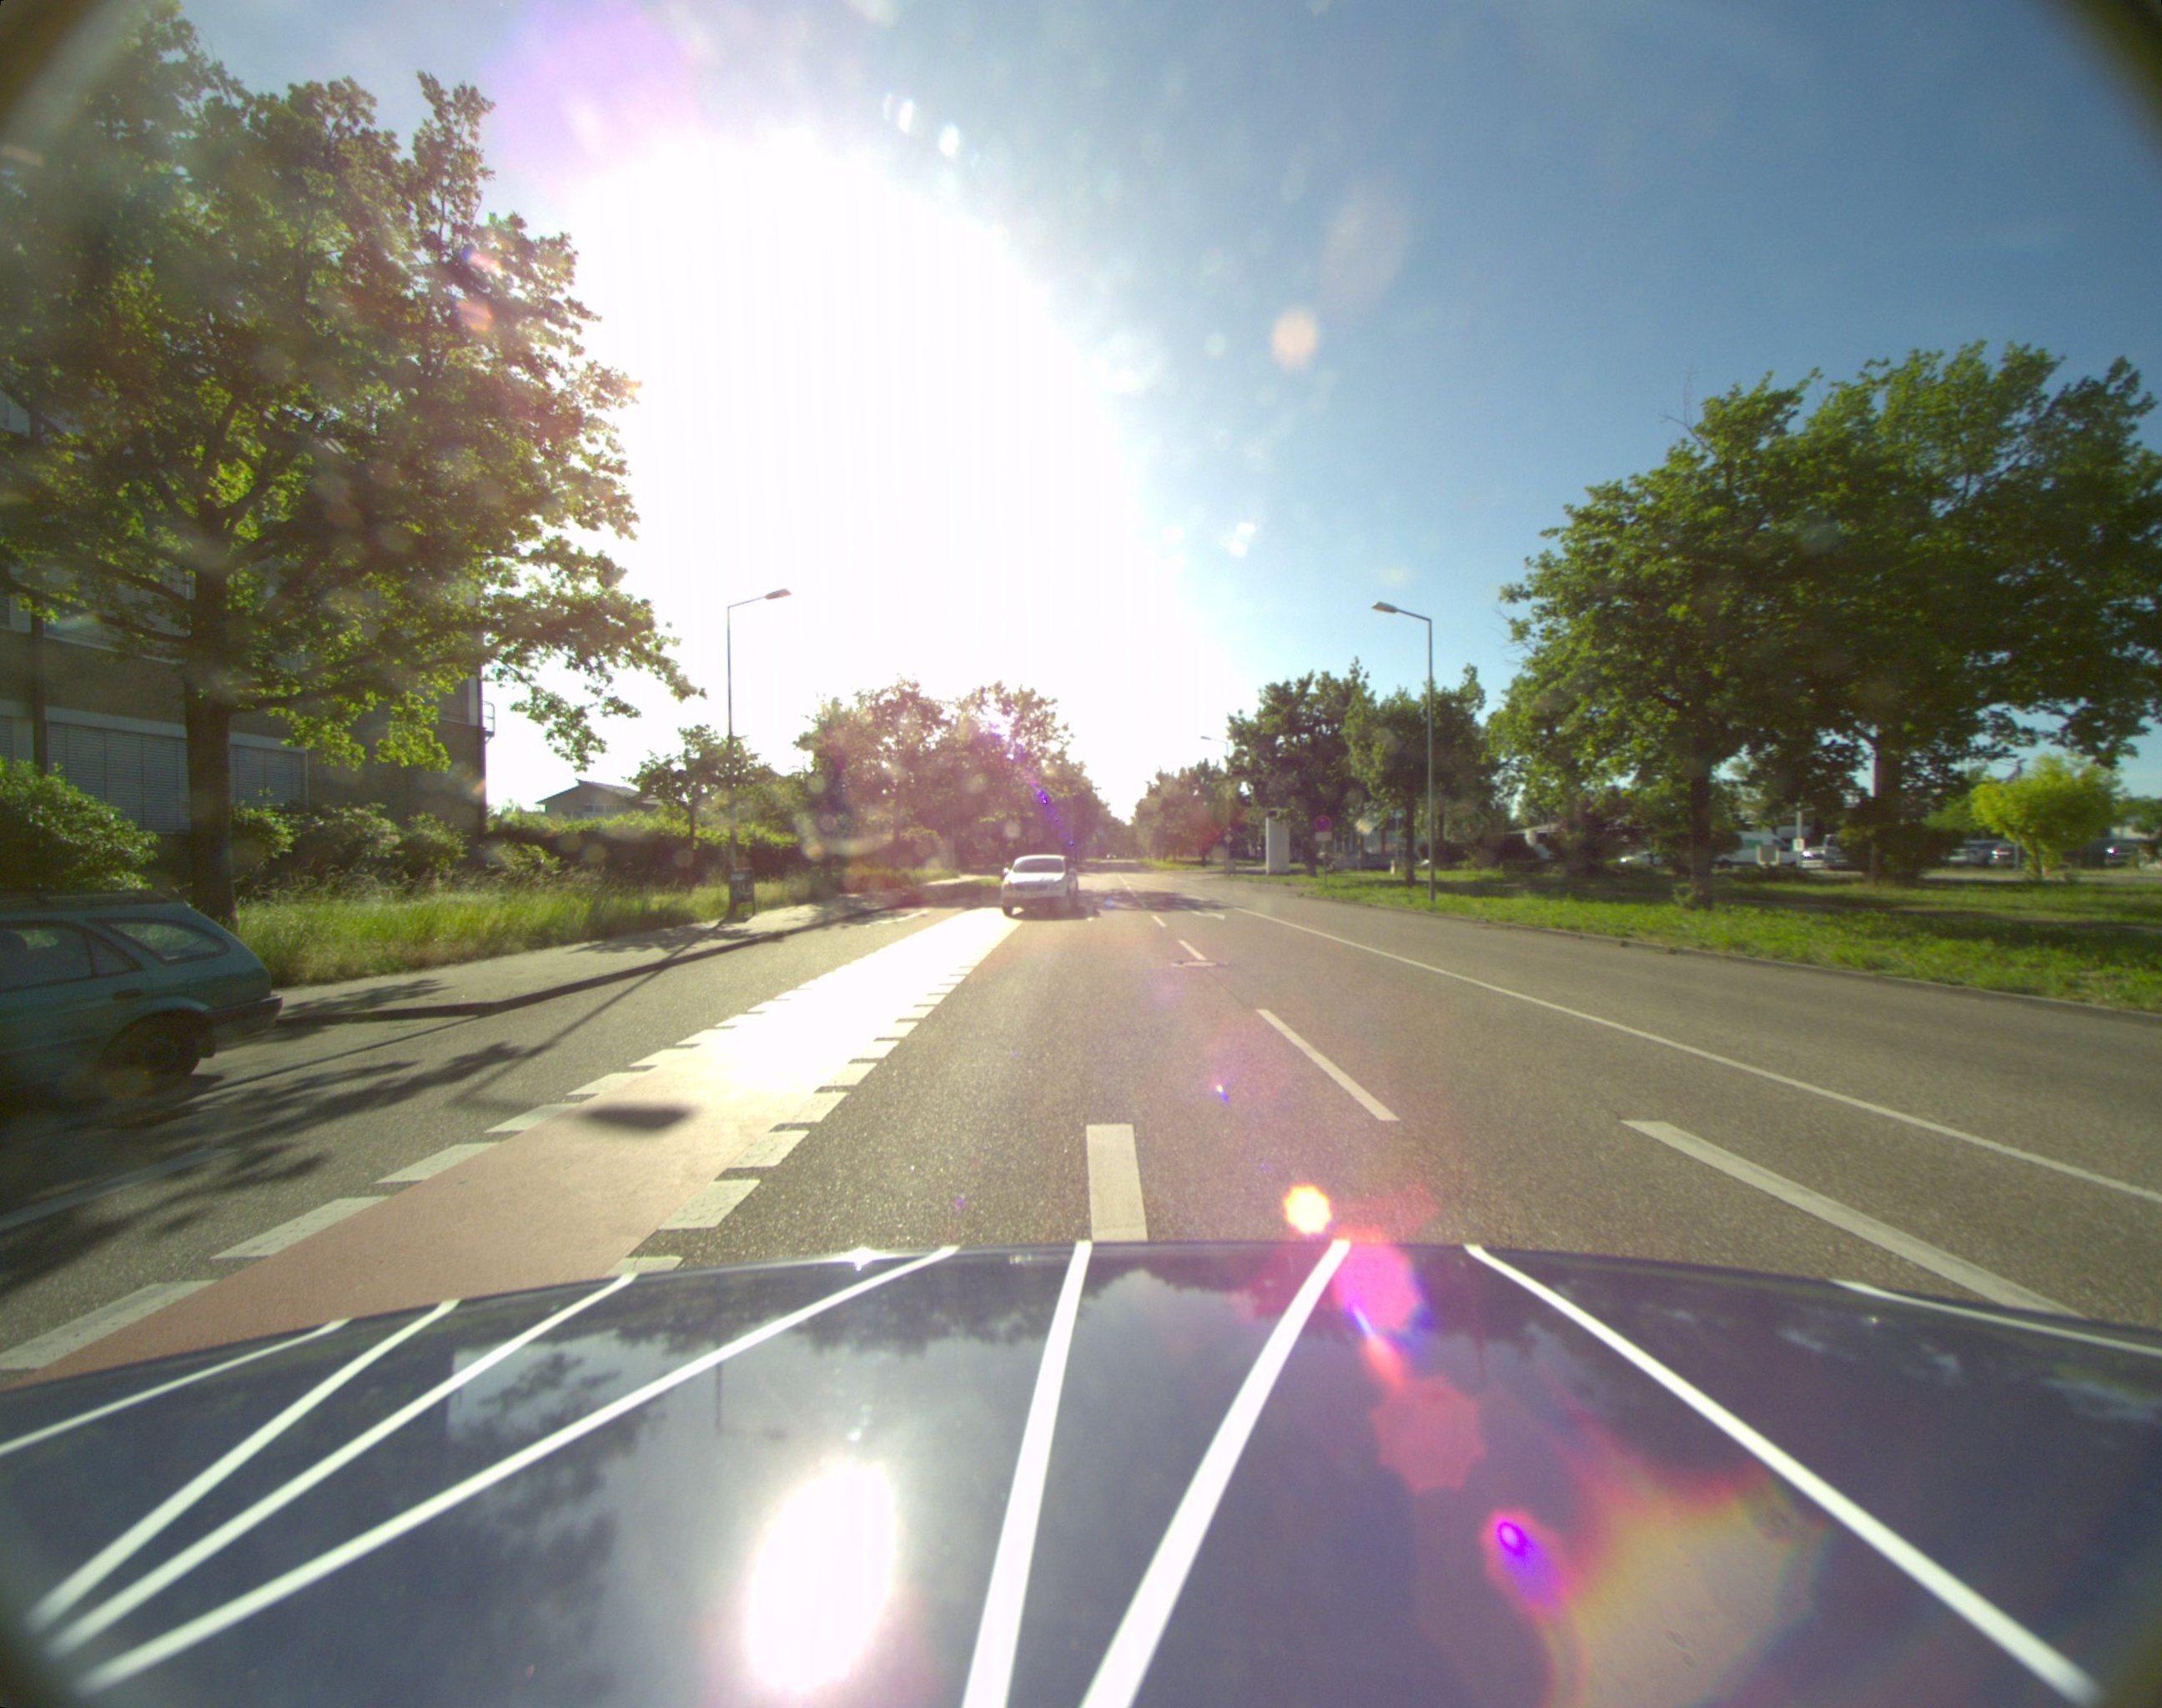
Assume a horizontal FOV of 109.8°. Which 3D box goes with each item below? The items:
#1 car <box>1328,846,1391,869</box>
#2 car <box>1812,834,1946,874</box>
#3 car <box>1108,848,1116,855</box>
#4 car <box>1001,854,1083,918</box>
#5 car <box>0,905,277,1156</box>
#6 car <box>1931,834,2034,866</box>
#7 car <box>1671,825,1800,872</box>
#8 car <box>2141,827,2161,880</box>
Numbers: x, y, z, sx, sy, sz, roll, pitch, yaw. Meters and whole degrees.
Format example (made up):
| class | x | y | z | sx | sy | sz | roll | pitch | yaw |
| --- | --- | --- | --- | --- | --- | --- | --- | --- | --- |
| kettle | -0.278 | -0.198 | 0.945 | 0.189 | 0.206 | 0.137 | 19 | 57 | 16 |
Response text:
| class | x | y | z | sx | sy | sz | roll | pitch | yaw |
| --- | --- | --- | --- | --- | --- | --- | --- | --- | --- |
| car | 23.922 | 0.293 | 65.372 | 4.637 | 1.822 | 2.000 | -2 | 1 | 0 |
| car | 40.057 | -0.008 | 38.224 | 4.642 | 1.771 | 1.990 | -2 | 1 | 0 |
| car | 6.510 | -0.495 | 161.139 | 1.653 | 1.460 | 3.941 | -1 | 0 | 2 |
| car | -1.019 | 0.846 | 21.781 | 1.721 | 1.598 | 4.069 | -2 | 0 | 5 |
| car | -7.527 | 1.134 | 4.220 | 1.706 | 1.460 | 4.141 | -1 | -1 | 0 |
| car | 52.084 | -0.211 | 43.964 | 3.860 | 1.661 | 1.762 | -2 | 1 | 0 |
| car | 39.895 | -0.342 | 46.401 | 6.023 | 2.540 | 2.409 | -2 | 1 | -4 |
| car | 33.885 | -0.087 | 22.043 | 3.817 | 1.562 | 1.736 | -2 | -1 | 0 |
